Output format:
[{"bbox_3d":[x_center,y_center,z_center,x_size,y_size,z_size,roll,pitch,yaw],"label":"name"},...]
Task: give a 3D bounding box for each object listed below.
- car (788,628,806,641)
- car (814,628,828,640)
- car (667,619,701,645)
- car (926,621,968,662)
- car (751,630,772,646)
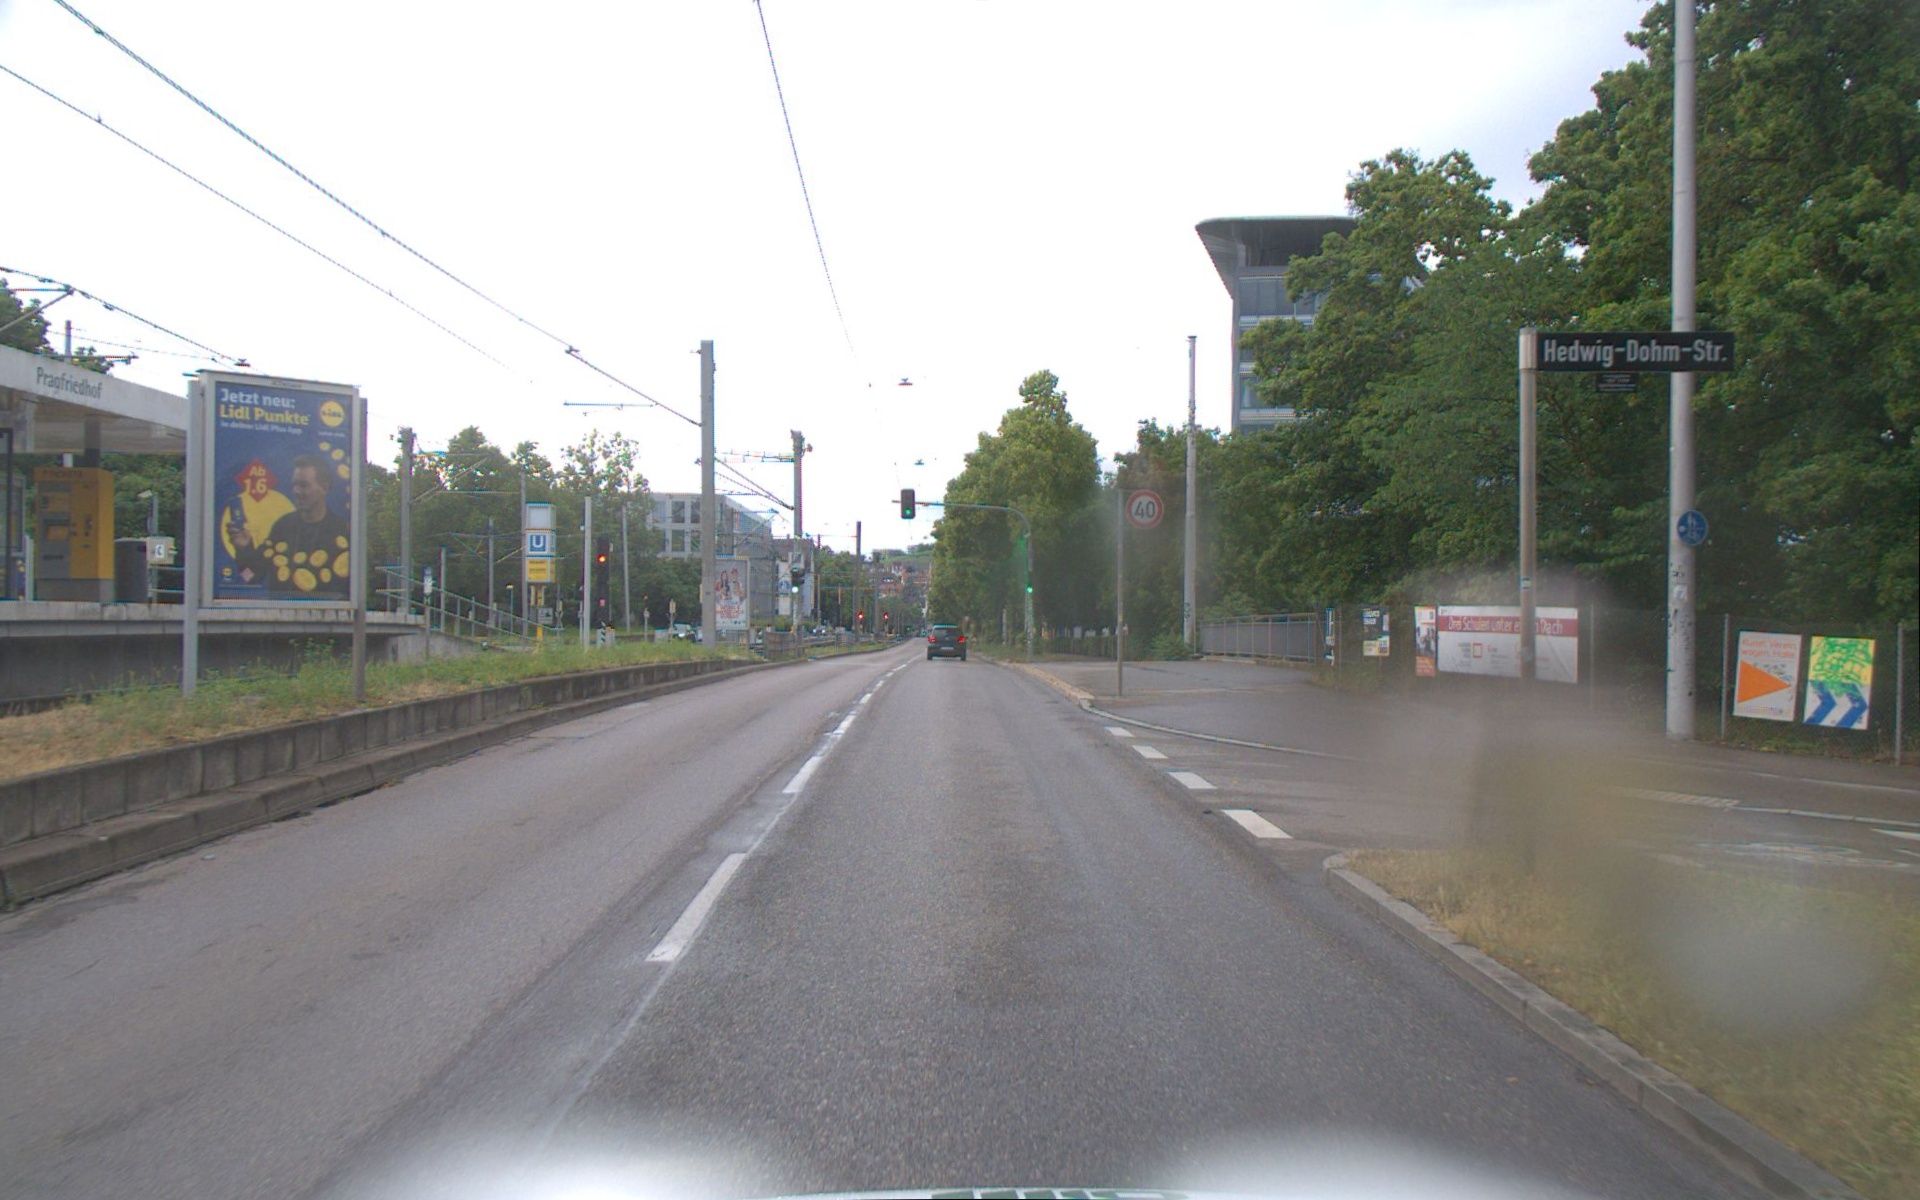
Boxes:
[{"bbox_3d":[-22.693,4.808,230.391,1.811,1.660,3.611,3,1,4],"label":"car"},{"bbox_3d":[-21.692,5.293,257.969,1.618,1.660,3.611,3,1,4],"label":"car"},{"bbox_3d":[-19.711,2.295,118.202,1.632,1.660,3.305,3,1,4],"label":"car"},{"bbox_3d":[-0.568,1.707,69.731,1.692,1.567,3.999,2,0,-1],"label":"car"},{"bbox_3d":[-23.883,4.590,199.492,1.811,1.660,3.611,3,1,4],"label":"car"}]
